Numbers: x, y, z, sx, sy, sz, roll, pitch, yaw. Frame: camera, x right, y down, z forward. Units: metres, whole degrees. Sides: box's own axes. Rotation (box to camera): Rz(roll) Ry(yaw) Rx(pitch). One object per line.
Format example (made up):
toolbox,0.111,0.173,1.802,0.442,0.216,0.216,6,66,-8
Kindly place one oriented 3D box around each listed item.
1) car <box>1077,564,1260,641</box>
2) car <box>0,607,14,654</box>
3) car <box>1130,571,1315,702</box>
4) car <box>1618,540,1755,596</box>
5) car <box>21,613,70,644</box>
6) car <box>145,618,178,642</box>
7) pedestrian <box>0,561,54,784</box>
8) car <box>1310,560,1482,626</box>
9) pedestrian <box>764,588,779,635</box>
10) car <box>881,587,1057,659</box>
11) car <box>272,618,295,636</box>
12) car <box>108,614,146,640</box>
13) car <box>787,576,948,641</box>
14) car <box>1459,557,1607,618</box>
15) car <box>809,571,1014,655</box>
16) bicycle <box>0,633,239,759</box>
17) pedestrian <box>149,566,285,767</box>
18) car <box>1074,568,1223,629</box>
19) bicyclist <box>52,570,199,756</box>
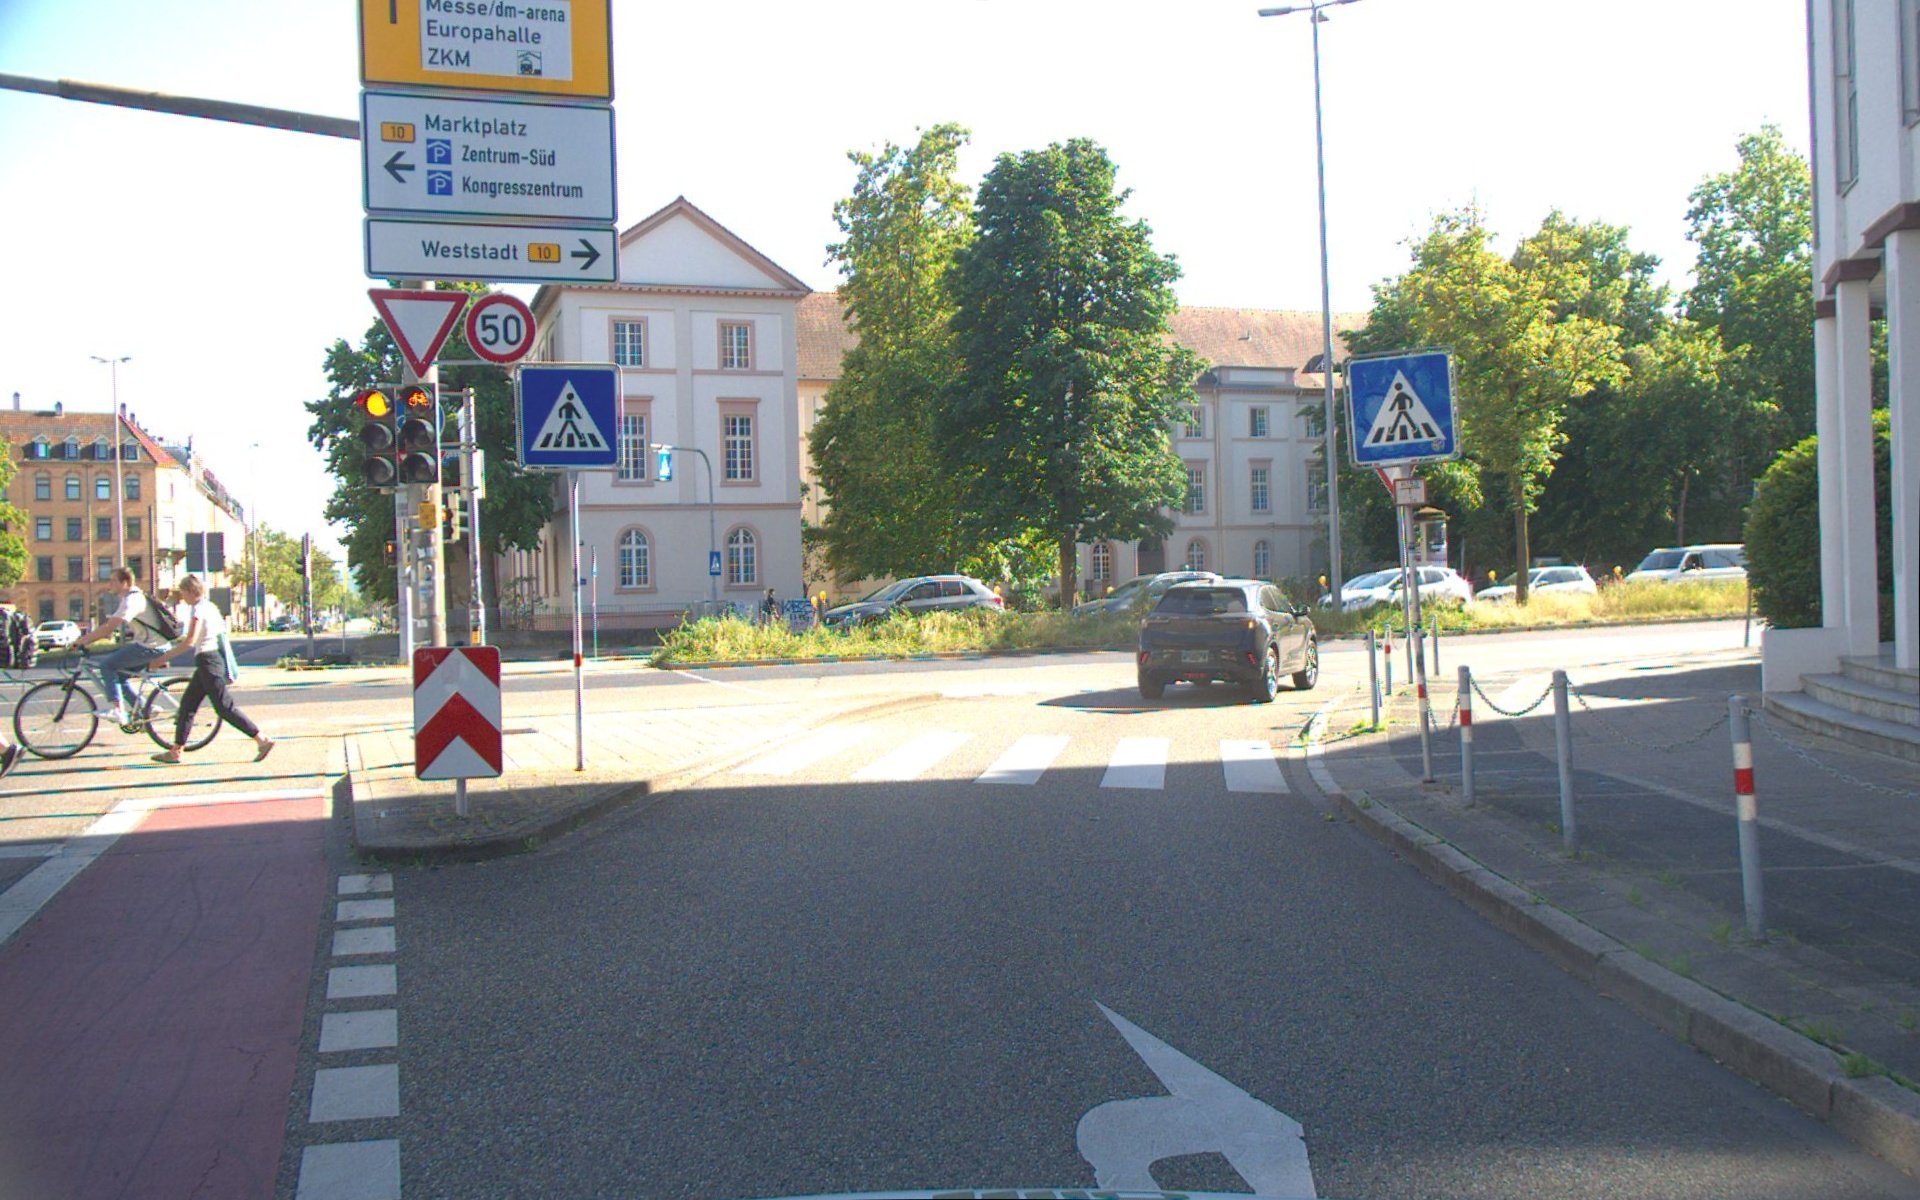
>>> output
car,5.000,0.047,39.708,3.935,1.672,1.908,-2,0,-24
car,-45.393,1.426,76.825,1.784,2.171,3.977,-2,0,-20
car,3.624,0.427,22.343,1.710,1.601,3.558,0,1,22
car,23.181,-1.025,52.744,3.938,1.672,1.907,-2,0,-26
car,-51.629,1.594,93.448,1.784,1.662,3.977,-2,0,-20
car,-60.472,2.234,125.285,1.784,1.662,3.977,-2,0,-20
pedestrian,-7.730,0.565,13.167,0.815,1.731,0.910,-1,0,-25
car,11.210,-0.199,42.501,4.124,1.534,1.807,-2,1,-27
pedestrian,-6.567,0.400,57.618,0.433,1.643,0.465,1,-1,-14
car,0.241,0.551,41.781,4.065,1.629,1.807,-2,1,-27
car,-58.414,2.295,142.779,1.786,1.473,3.972,-2,1,-23
car,-56.159,1.807,111.549,1.784,1.662,3.977,-2,0,-20
car,-2.558,0.222,45.788,4.065,1.629,1.807,-2,1,-27
car,17.058,-0.376,49.266,3.935,1.672,1.908,-2,0,-24
car,-1.044,0.255,35.929,4.065,1.629,1.807,-2,1,-27
bicycle,-7.898,0.879,15.561,2.003,1.079,0.617,-1,0,-23
pedestrian,-6.595,0.564,14.688,1.028,1.688,0.777,-2,0,-26
car,5.578,-0.061,48.916,4.065,1.629,1.807,-2,1,-27
bicyclist,-7.768,0.564,15.450,1.149,1.662,0.724,-1,0,-23
